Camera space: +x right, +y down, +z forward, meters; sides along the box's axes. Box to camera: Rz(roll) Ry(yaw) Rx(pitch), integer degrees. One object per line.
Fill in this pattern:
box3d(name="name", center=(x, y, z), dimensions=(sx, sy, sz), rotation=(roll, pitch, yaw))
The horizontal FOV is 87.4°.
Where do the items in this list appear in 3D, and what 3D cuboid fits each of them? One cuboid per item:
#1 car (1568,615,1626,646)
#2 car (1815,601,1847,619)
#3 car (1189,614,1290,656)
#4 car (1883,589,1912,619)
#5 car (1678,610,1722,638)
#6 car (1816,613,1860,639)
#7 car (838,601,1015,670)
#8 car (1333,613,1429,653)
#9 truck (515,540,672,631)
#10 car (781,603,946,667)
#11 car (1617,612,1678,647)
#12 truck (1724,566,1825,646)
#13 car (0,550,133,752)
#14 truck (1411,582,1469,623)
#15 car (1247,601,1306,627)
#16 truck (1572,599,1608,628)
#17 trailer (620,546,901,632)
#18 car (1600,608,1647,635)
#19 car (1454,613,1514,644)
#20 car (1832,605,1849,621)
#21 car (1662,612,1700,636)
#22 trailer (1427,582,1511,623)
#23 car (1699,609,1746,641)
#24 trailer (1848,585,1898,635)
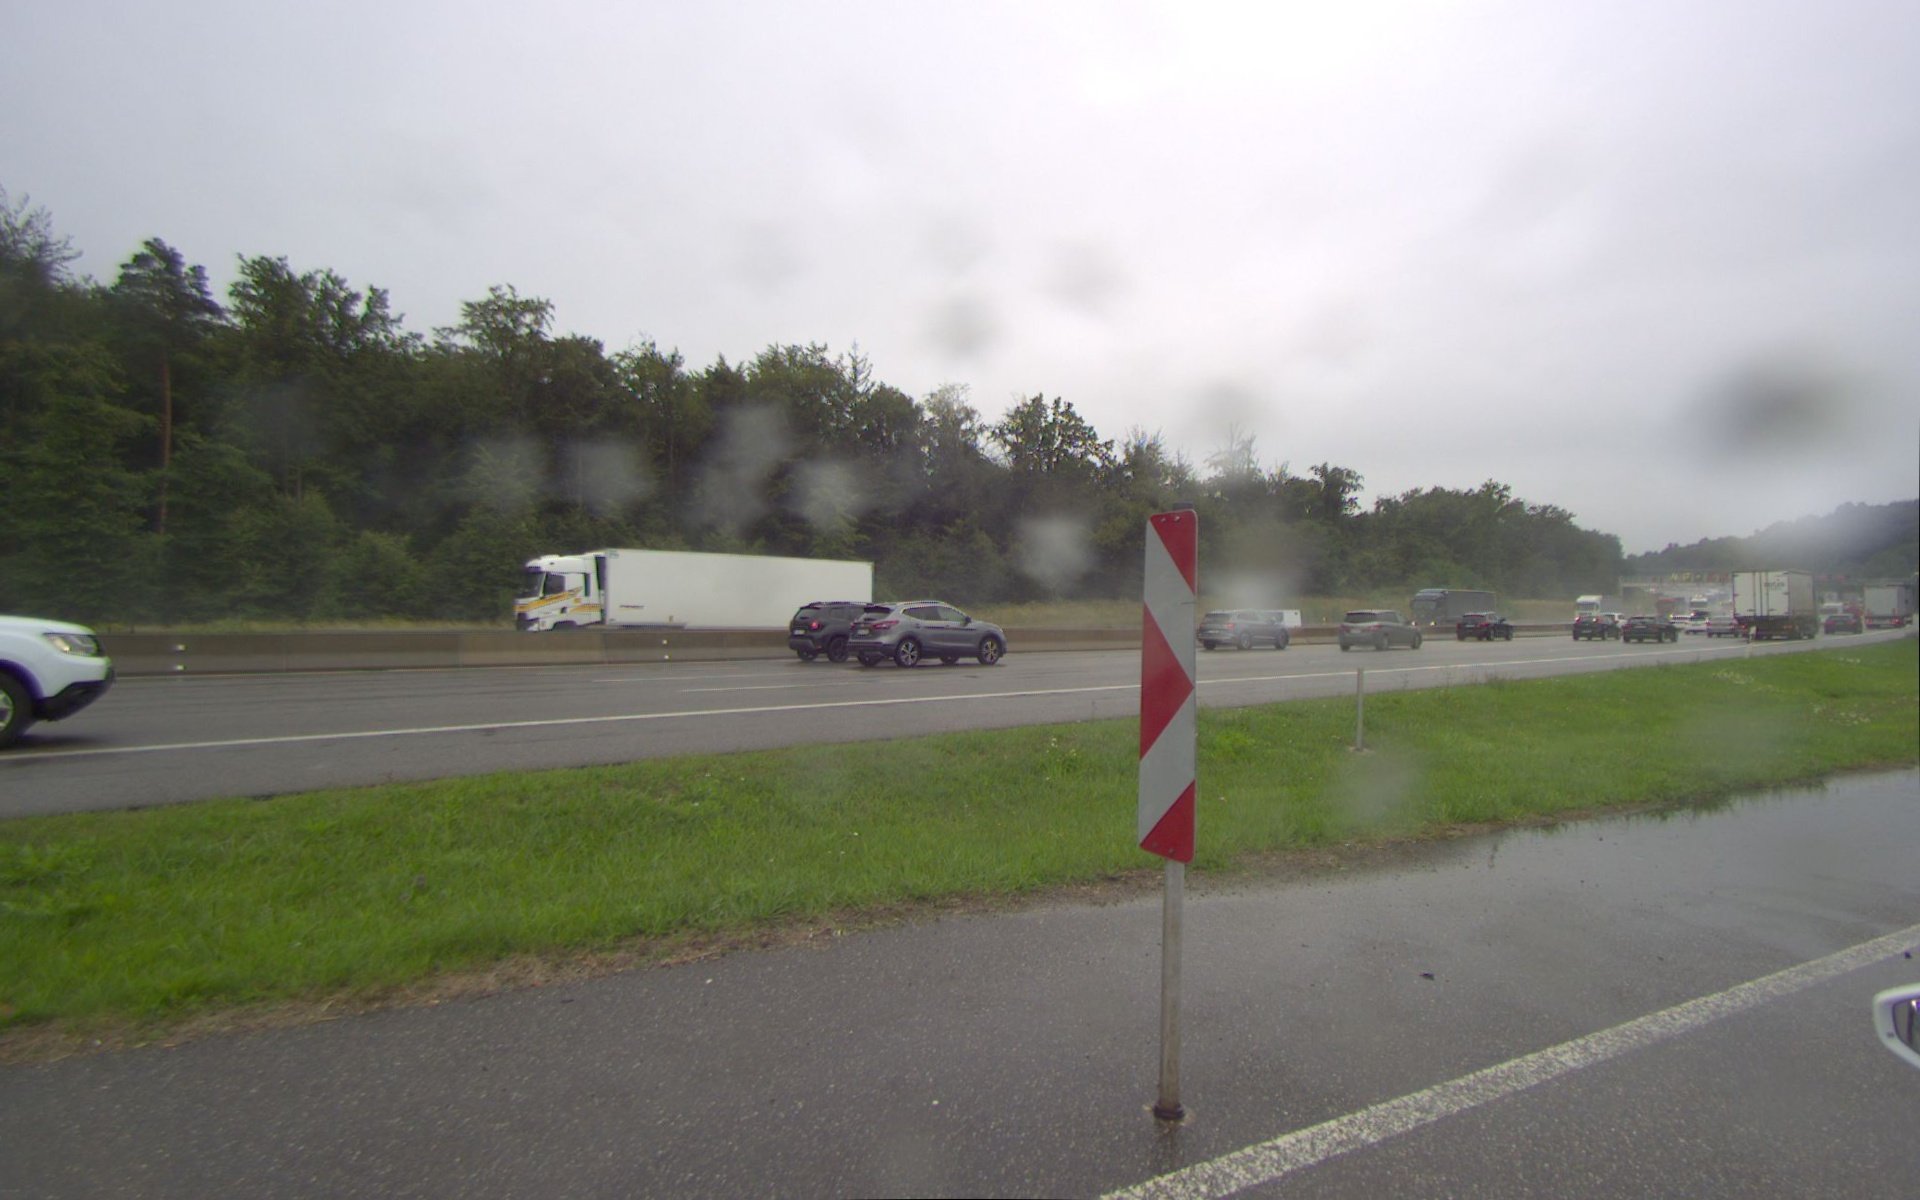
box3d(name="car", center=(37.677, 1.798, 59.402), dimensions=(4.067, 1.759, 1.761), rotation=(1, -2, -41))
box3d(name="car", center=(95.610, 1.092, 110.256), dimensions=(3.967, 1.840, 1.977), rotation=(1, 2, -40))
box3d(name="car", center=(11.439, 1.411, 40.967), dimensions=(4.420, 1.594, 1.705), rotation=(1, -2, -39))
box3d(name="car", center=(113.735, 0.514, 121.810), dimensions=(2.347, 3.532, 4.787), rotation=(4, 2, 43))
box3d(name="car", center=(58.201, 1.890, 78.957), dimensions=(3.970, 2.040, 1.975), rotation=(1, 1, -42))
box3d(name="car", center=(66.402, 1.957, 75.933), dimensions=(3.970, 1.840, 1.975), rotation=(1, 1, -42))
box3d(name="car", center=(-0.780, 0.864, 25.114), dimensions=(4.298, 1.595, 1.705), rotation=(1, -2, -39))
box3d(name="car", center=(17.272, 1.329, 41.126), dimensions=(4.296, 1.547, 1.775), rotation=(1, -1, -38))
box3d(name="truck", center=(-15.122, -0.500, 41.594), dimensions=(5.558, 3.497, 2.623), rotation=(1, -1, -41))
box3d(name="car", center=(-2.685, 0.975, 28.487), dimensions=(4.426, 1.685, 1.908), rotation=(1, -2, -42))
box3d(name="car", center=(36.110, 1.555, 52.719), dimensions=(3.817, 1.759, 1.760), rotation=(1, -1, -41))
box3d(name="truck", center=(48.862, 0.504, 60.095), dimensions=(11.755, 4.348, 2.824), rotation=(2, -3, -42))
box3d(name="car", center=(-9.212, 0.413, 7.796), dimensions=(4.288, 1.607, 1.771), rotation=(1, -2, -40))
box3d(name="truck", center=(46.153, 0.220, 96.525), dimensions=(5.602, 3.797, 3.013), rotation=(0, 1, -42))
box3d(name="car", center=(24.602, 1.079, 78.036), dimensions=(4.884, 1.860, 1.977), rotation=(1, 1, -40))
box3d(name="truck", center=(85.363, 1.773, 136.066), dimensions=(4.725, 3.582, 2.690), rotation=(-2, 5, -41))
box3d(name="trailer", center=(-8.869, -0.341, 47.076), dimensions=(13.381, 3.544, 2.625), rotation=(1, -1, -41))
box3d(name="car", center=(50.049, 1.626, 75.741), dimensions=(3.970, 2.040, 1.976), rotation=(1, -2, -42))
box3d(name="car", center=(30.782, 1.658, 58.964), dimensions=(4.068, 1.759, 1.760), rotation=(1, -2, -41))
box3d(name="car", center=(130.745, 1.932, 149.167), dimensions=(1.655, 2.040, 3.979), rotation=(8, 4, 41))
box3d(name="car", center=(64.476, 2.154, 89.839), dimensions=(3.970, 2.040, 1.976), rotation=(1, -1, -42))
box3d(name="trailer", center=(51.530, 0.243, 101.416), dimensions=(13.308, 3.863, 3.000), rotation=(0, 1, -42))
box3d(name="car", center=(51.141, 1.668, 67.350), dimensions=(4.303, 1.997, 1.772), rotation=(1, 0, -43))
box3d(name="trailer", center=(91.739, 1.085, 100.846), dimensions=(3.510, 4.673, 12.049), rotation=(-1, -2, 43))
